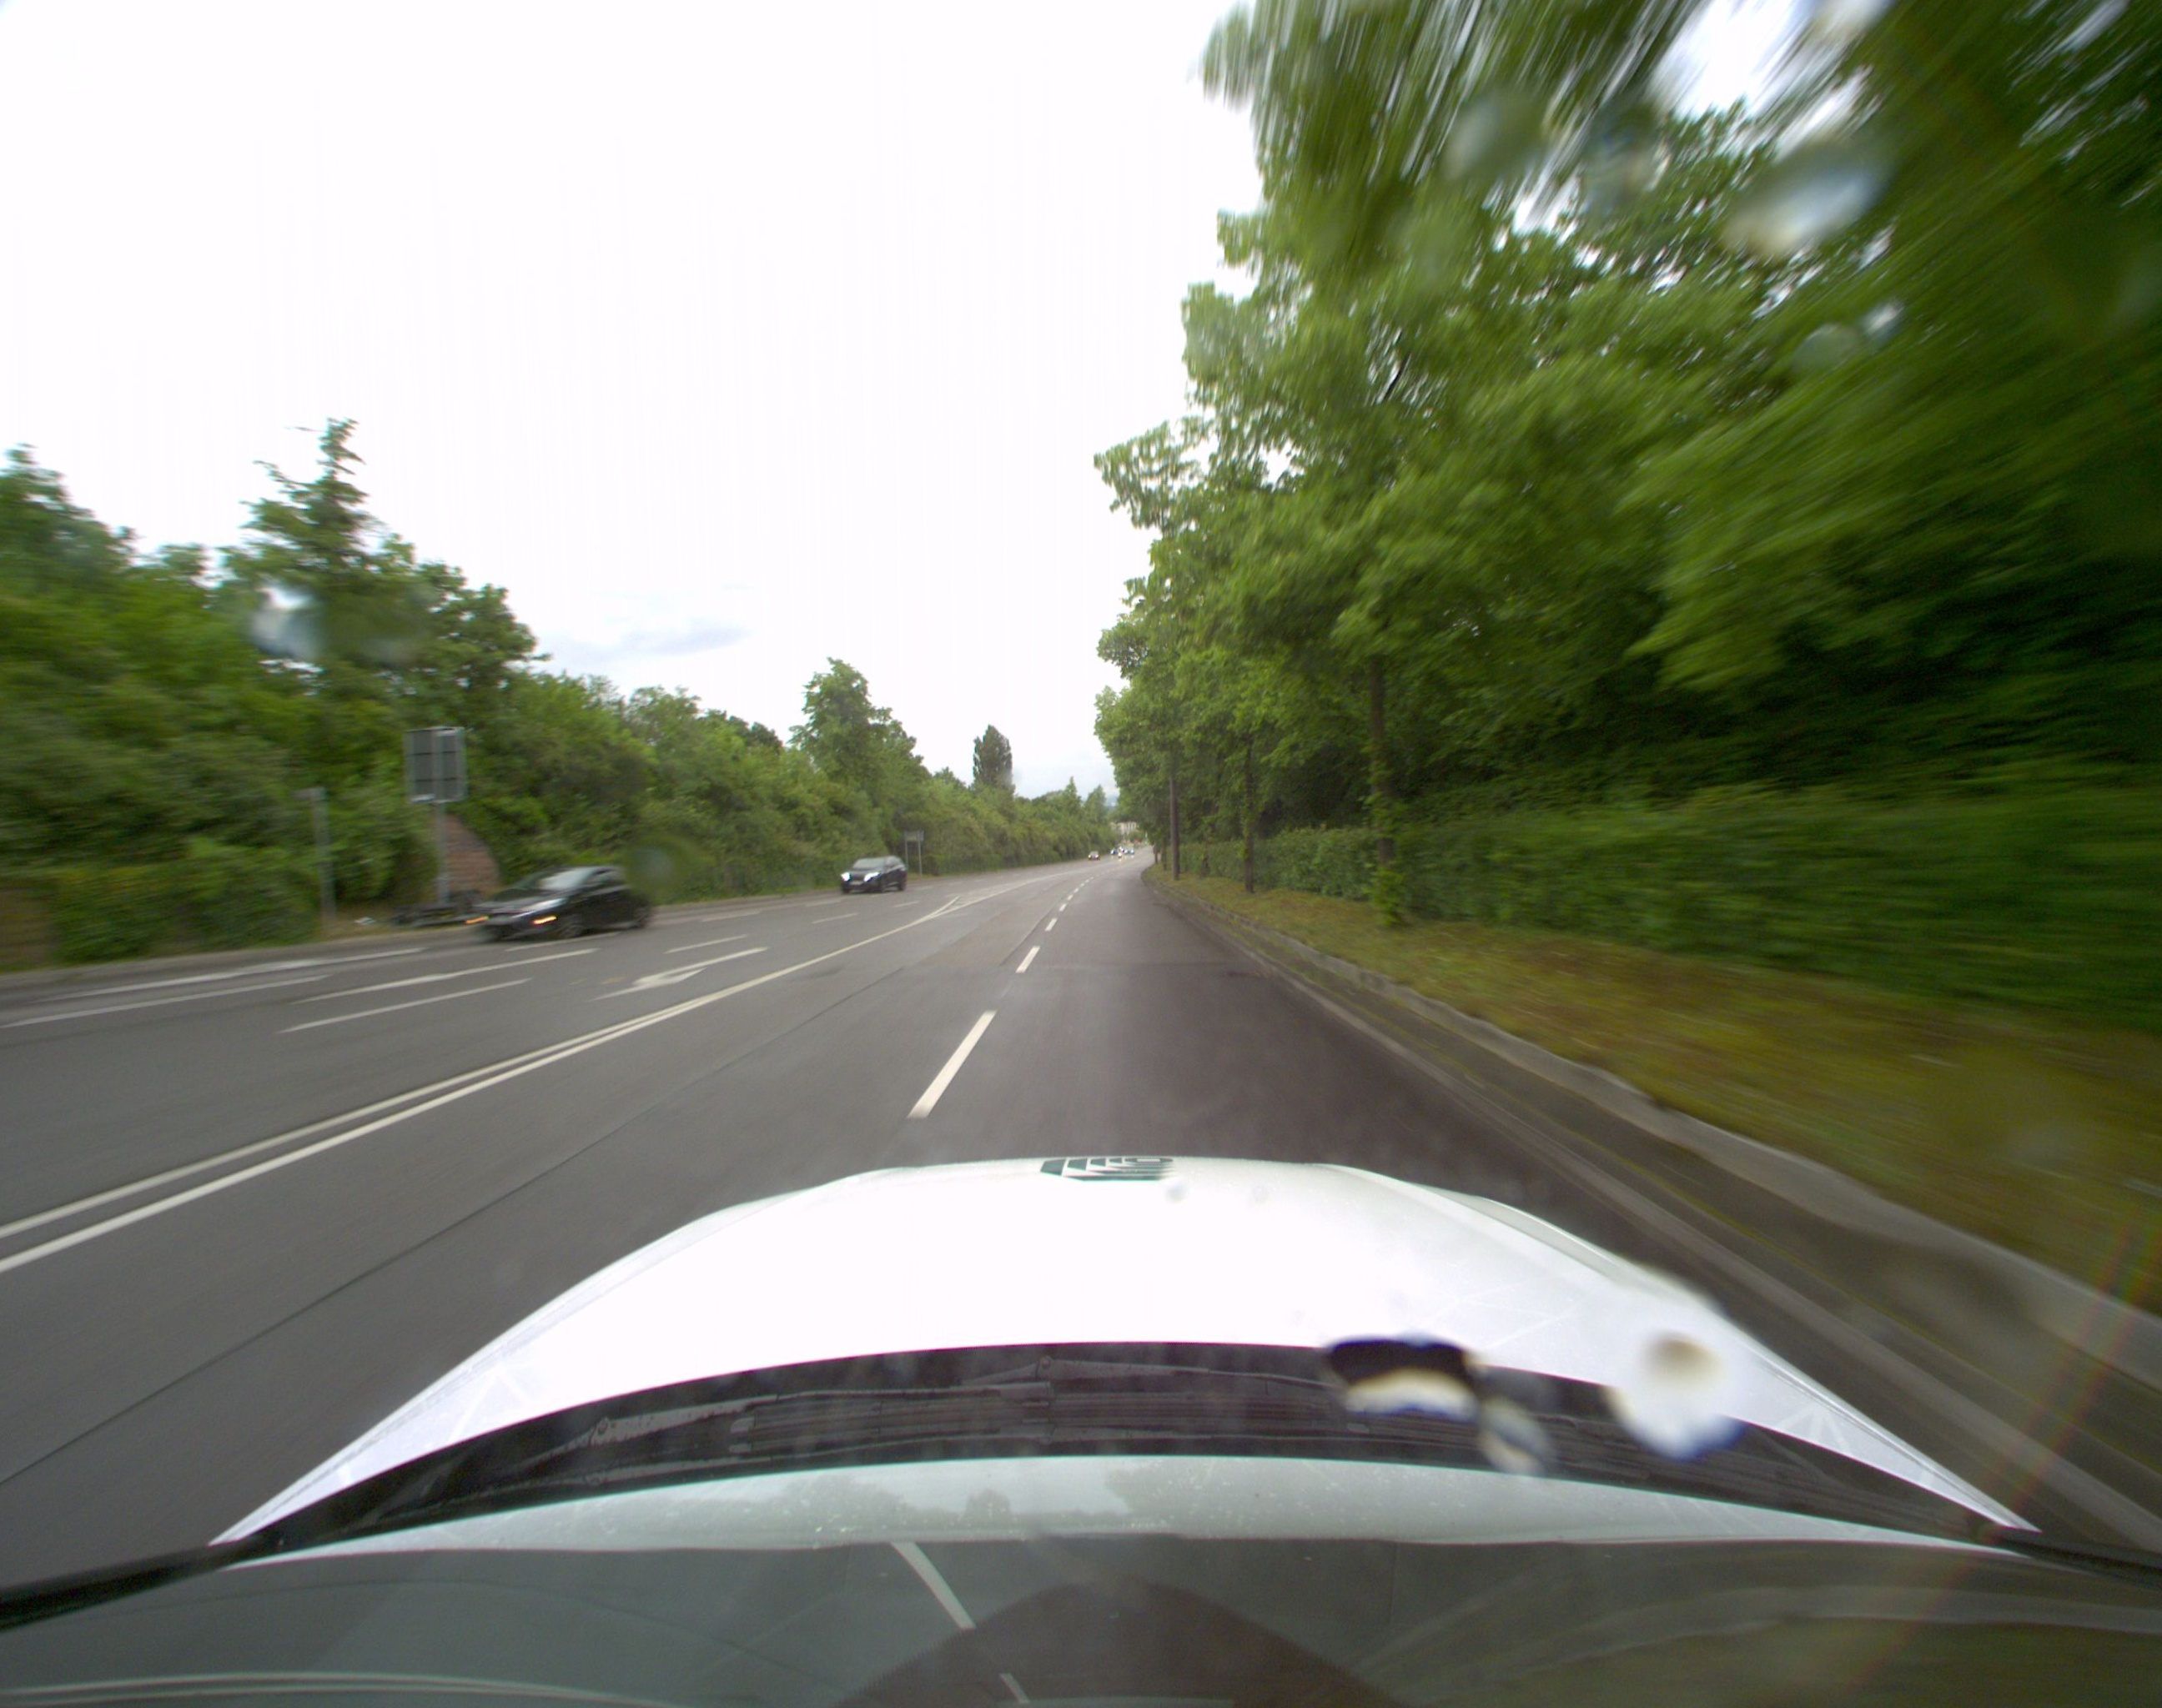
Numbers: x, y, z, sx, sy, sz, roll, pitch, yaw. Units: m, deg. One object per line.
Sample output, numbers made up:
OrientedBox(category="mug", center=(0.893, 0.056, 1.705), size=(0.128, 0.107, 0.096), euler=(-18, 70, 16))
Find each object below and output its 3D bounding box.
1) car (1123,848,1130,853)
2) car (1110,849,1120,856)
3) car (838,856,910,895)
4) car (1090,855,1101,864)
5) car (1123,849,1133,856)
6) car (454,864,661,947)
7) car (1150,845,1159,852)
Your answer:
OrientedBox(category="car", center=(12.991, -0.947, 233.208), size=(1.750, 1.381, 4.848), euler=(0, 1, 7))
OrientedBox(category="car", center=(7.818, -0.255, 185.445), size=(1.889, 1.552, 4.640), euler=(0, 0, 7))
OrientedBox(category="car", center=(-9.199, 0.922, 36.614), size=(1.792, 1.606, 4.433), euler=(-1, 0, 4))
OrientedBox(category="car", center=(2.412, 0.864, 134.504), size=(1.541, 1.437, 3.702), euler=(-2, 0, 6))
OrientedBox(category="car", center=(10.644, -0.382, 184.377), size=(1.803, 1.657, 4.603), euler=(-1, 0, 6))
OrientedBox(category="car", center=(-10.810, 0.982, 17.178), size=(1.667, 1.467, 3.865), euler=(-1, 0, 3))
OrientedBox(category="car", center=(17.686, -1.323, 195.276), size=(1.838, 1.702, 3.803), euler=(-1, -1, 10))
